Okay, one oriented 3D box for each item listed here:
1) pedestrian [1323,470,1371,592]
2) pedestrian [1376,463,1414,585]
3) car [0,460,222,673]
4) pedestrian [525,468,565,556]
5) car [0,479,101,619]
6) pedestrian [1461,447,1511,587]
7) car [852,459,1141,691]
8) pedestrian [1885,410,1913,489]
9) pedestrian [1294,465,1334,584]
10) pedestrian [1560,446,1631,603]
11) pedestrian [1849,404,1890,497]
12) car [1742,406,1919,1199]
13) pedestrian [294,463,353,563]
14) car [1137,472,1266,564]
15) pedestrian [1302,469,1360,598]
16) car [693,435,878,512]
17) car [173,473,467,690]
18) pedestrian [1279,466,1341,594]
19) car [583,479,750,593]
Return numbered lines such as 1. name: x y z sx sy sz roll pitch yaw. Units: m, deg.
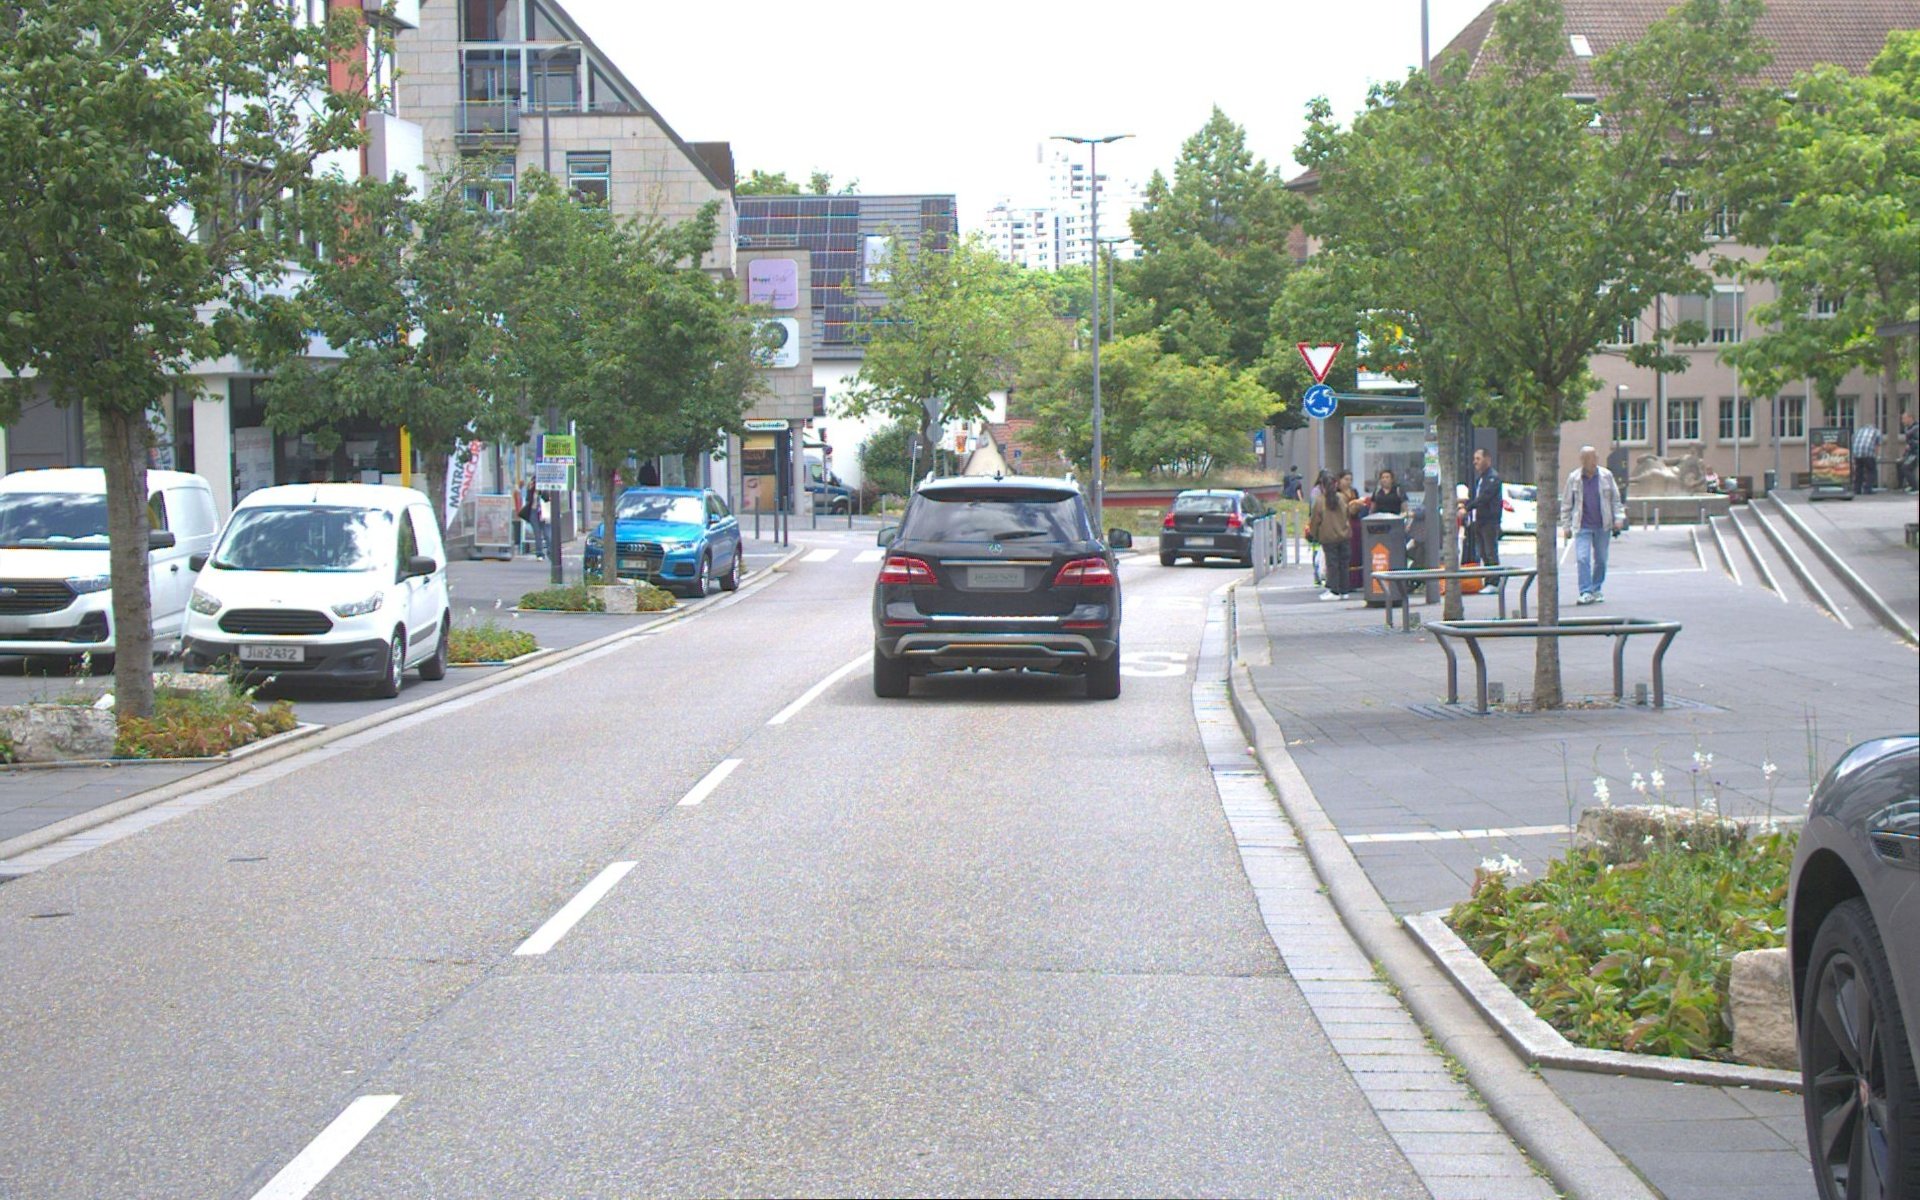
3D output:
1. pedestrian: 5.004 -0.896 44.462 0.500 1.560 0.498 -2 2 -3
2. pedestrian: 5.629 -0.991 44.523 0.393 1.560 0.352 -2 2 -3
3. car: -8.111 -0.370 31.717 1.756 1.807 4.477 1 2 -2
4. pedestrian: -7.536 -1.604 62.445 0.587 1.582 0.638 1 2 5
5. car: -11.722 -0.596 38.890 3.627 1.553 1.669 0 2 -3
6. pedestrian: 6.399 -1.011 41.828 0.511 1.674 0.576 -1 2 4
7. car: 0.204 -0.196 27.934 2.027 1.721 4.434 0 0 -4
8. pedestrian: 15.548 -2.493 56.916 0.363 1.281 0.641 -1 3 9
9. pedestrian: 4.908 -1.050 47.612 0.387 1.614 0.469 -2 2 19
10. pedestrian: 6.901 -0.820 37.314 0.685 1.676 0.714 -1 2 14
11. pedestrian: 14.932 -2.457 56.445 0.502 1.503 0.454 -2 3 -11
12. car: 2.673 0.532 5.013 1.928 1.718 4.574 -1 2 -1
13. pedestrian: -10.119 -1.385 54.669 0.644 1.561 0.585 0 2 34
14. car: 4.530 -1.549 63.928 2.053 1.582 4.372 2 2 8
15. pedestrian: 4.522 -0.808 41.842 0.513 1.544 0.486 0 2 30
16. car: -6.293 -4.540 123.742 6.283 2.551 2.207 1 -1 -17
17. car: -5.297 -0.220 28.928 1.656 1.666 4.351 1 2 0
18. pedestrian: 4.289 -0.859 42.138 0.485 1.544 0.544 -3 3 -42
19. car: -4.411 -1.012 52.246 1.695 1.594 4.331 2 2 6
